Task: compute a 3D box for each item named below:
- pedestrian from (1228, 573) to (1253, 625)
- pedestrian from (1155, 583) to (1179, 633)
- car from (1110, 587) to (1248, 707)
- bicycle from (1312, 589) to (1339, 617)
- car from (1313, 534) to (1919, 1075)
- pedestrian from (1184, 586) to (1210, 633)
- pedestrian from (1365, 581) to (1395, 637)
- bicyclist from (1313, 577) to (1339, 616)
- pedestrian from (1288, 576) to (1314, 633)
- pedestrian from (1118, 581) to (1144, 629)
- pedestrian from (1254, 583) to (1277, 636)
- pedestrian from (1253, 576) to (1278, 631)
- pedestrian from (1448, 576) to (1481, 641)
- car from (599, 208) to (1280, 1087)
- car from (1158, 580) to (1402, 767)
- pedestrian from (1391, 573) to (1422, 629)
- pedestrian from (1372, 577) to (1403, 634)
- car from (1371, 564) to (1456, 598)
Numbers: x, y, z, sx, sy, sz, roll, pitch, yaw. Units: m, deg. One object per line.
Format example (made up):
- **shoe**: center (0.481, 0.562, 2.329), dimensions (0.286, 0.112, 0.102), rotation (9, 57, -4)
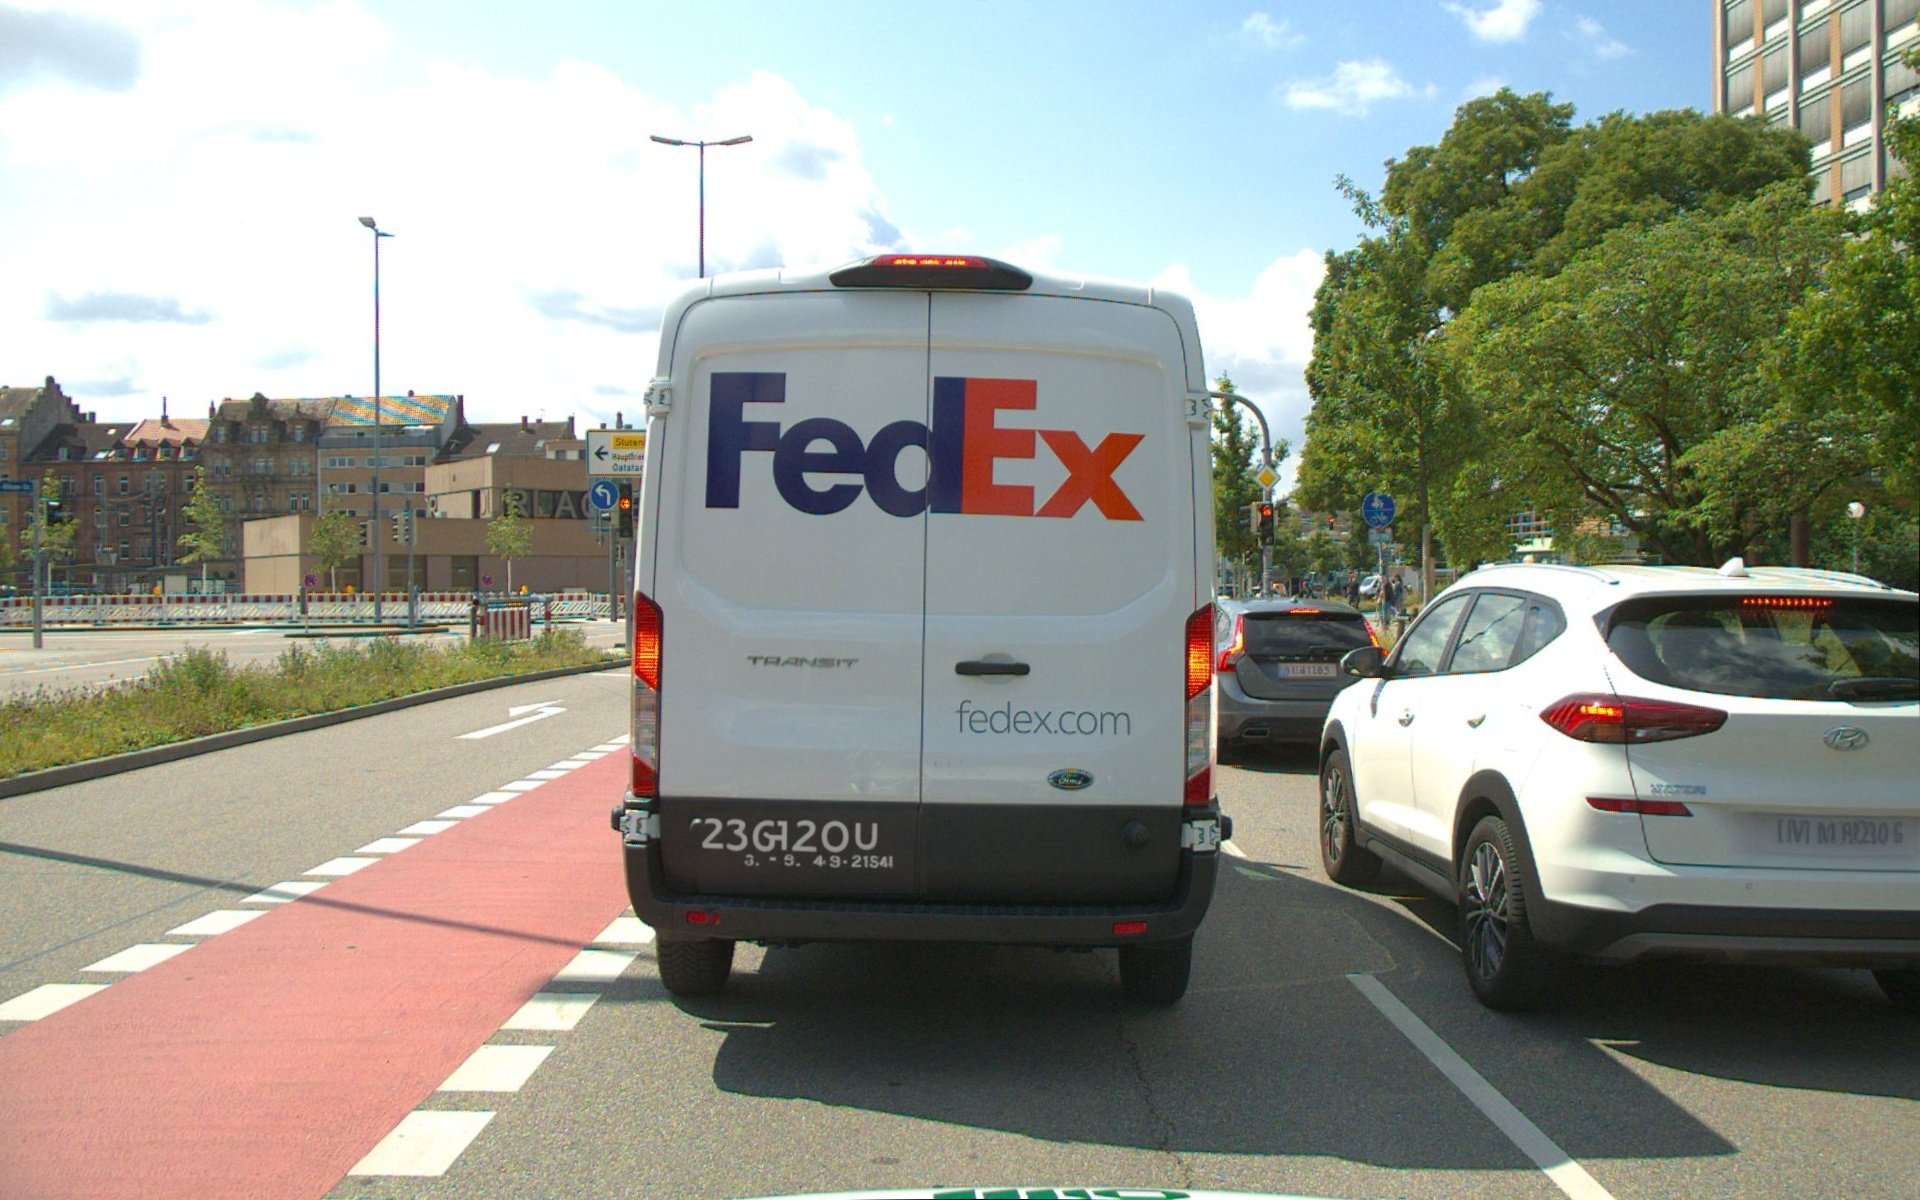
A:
- **pedestrian**: center (10.178, -0.031, 60.107), dimensions (0.796, 1.882, 0.761), rotation (0, 0, 2)
- **pedestrian**: center (7.917, 0.308, 63.263), dimensions (0.744, 1.882, 0.816), rotation (0, 0, -3)
- **car**: center (2.934, 0.582, 22.673), dimensions (1.468, 1.489, 3.474), rotation (0, 1, 1)
- **bicycle**: center (20.940, 0.155, 94.703), dimensions (1.395, 1.489, 4.314), rotation (0, 1, 14)
- **car**: center (2.834, 0.623, 7.229), dimensions (1.777, 1.708, 3.974), rotation (0, 1, 1)
- **pedestrian**: center (9.475, 0.372, 66.162), dimensions (0.748, 1.882, 0.811), rotation (-1, 0, -22)
- **pedestrian**: center (12.782, 0.267, 50.374), dimensions (0.743, 1.684, 0.816), rotation (0, 0, 3)
- **bicyclist**: center (20.912, -0.227, 94.591), dimensions (1.402, 2.209, 1.340), rotation (0, 0, 14)
- **pedestrian**: center (11.325, 0.141, 54.938), dimensions (0.743, 1.882, 0.816), rotation (0, 0, 18)
- **pedestrian**: center (6.657, 0.187, 64.300), dimensions (0.747, 1.882, 0.812), rotation (0, 0, -17)
- **pedestrian**: center (10.929, 0.341, 59.210), dimensions (0.742, 1.882, 0.817), rotation (0, 0, 14)
- **pedestrian**: center (10.491, 0.123, 56.847), dimensions (0.743, 1.882, 0.816), rotation (0, 0, 18)
- **pedestrian**: center (14.800, 0.254, 48.497), dimensions (0.743, 1.882, 0.816), rotation (0, 0, 3)
- **car**: center (-0.033, 0.118, 7.179), dimensions (2.030, 2.626, 4.428), rotation (0, 1, 1)
- **car**: center (2.936, 0.602, 15.864), dimensions (1.656, 1.576, 3.721), rotation (0, 1, 1)
- **pedestrian**: center (15.191, 0.042, 56.247), dimensions (0.745, 1.882, 0.814), rotation (0, 0, -9)
- **pedestrian**: center (14.385, 0.180, 55.683), dimensions (0.745, 1.882, 0.814), rotation (-1, 0, -11)
- **car**: center (39.565, -1.619, 144.330), dimensions (6.944, 2.765, 2.486), rotation (1, 0, -15)
